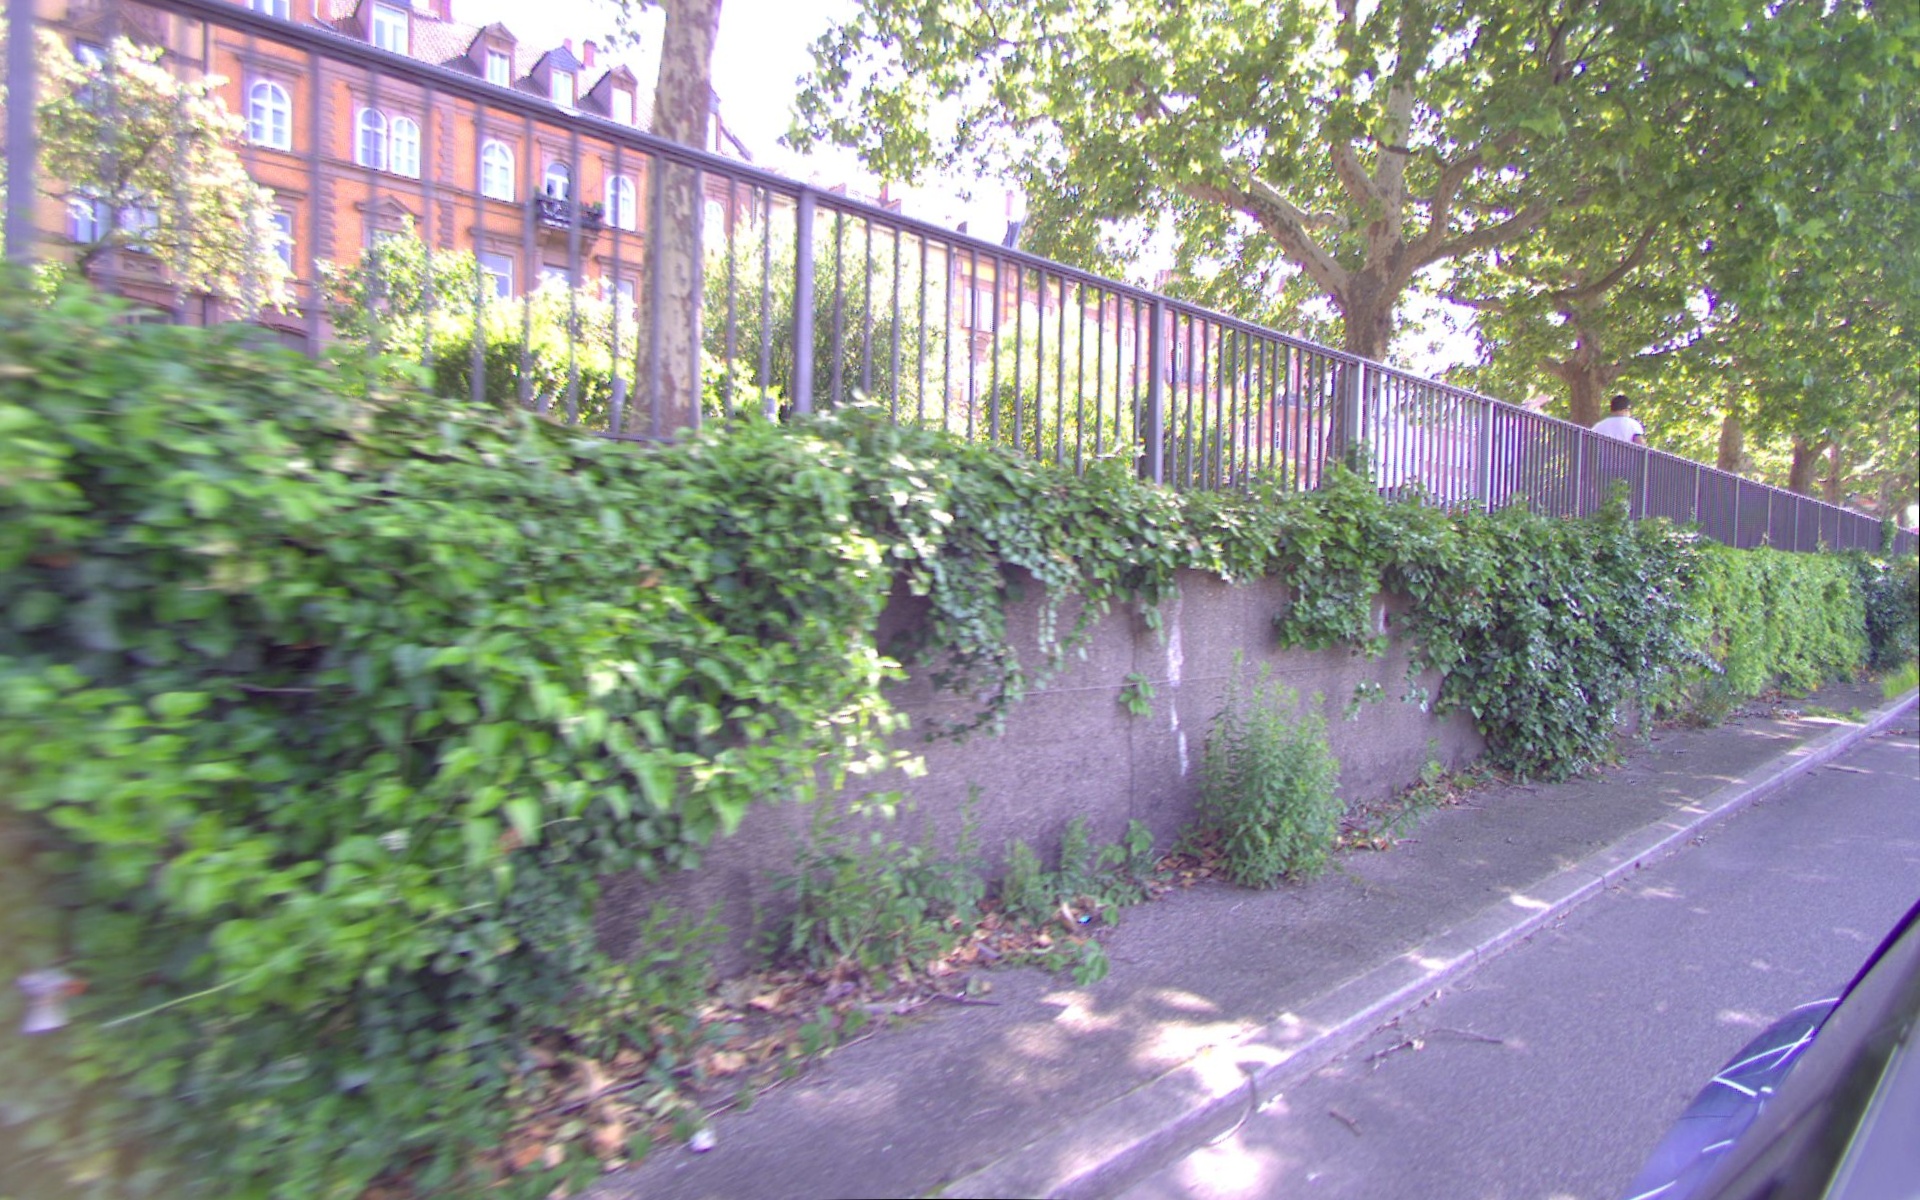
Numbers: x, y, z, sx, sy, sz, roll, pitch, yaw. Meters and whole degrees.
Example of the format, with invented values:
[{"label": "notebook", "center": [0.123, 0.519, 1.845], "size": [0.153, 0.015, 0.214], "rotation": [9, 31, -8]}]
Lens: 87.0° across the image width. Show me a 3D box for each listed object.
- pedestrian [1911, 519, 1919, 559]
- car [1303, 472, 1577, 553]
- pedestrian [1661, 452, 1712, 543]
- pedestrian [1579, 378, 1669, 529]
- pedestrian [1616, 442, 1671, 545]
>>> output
[{"label": "pedestrian", "center": [31.059, -1.956, 32.447], "size": [0.729, 1.259, 0.712], "rotation": [0, 2, -42]}, {"label": "car", "center": [7.762, -1.359, 16.605], "size": [1.623, 1.128, 3.735], "rotation": [0, 2, -43]}, {"label": "pedestrian", "center": [11.904, -1.654, 16.583], "size": [0.584, 1.437, 0.580], "rotation": [2, 2, 41]}, {"label": "pedestrian", "center": [7.543, -1.631, 11.495], "size": [0.639, 1.611, 0.666], "rotation": [0, 2, -41]}, {"label": "pedestrian", "center": [11.464, -1.769, 16.976], "size": [0.646, 1.660, 0.617], "rotation": [2, 2, 41]}]
